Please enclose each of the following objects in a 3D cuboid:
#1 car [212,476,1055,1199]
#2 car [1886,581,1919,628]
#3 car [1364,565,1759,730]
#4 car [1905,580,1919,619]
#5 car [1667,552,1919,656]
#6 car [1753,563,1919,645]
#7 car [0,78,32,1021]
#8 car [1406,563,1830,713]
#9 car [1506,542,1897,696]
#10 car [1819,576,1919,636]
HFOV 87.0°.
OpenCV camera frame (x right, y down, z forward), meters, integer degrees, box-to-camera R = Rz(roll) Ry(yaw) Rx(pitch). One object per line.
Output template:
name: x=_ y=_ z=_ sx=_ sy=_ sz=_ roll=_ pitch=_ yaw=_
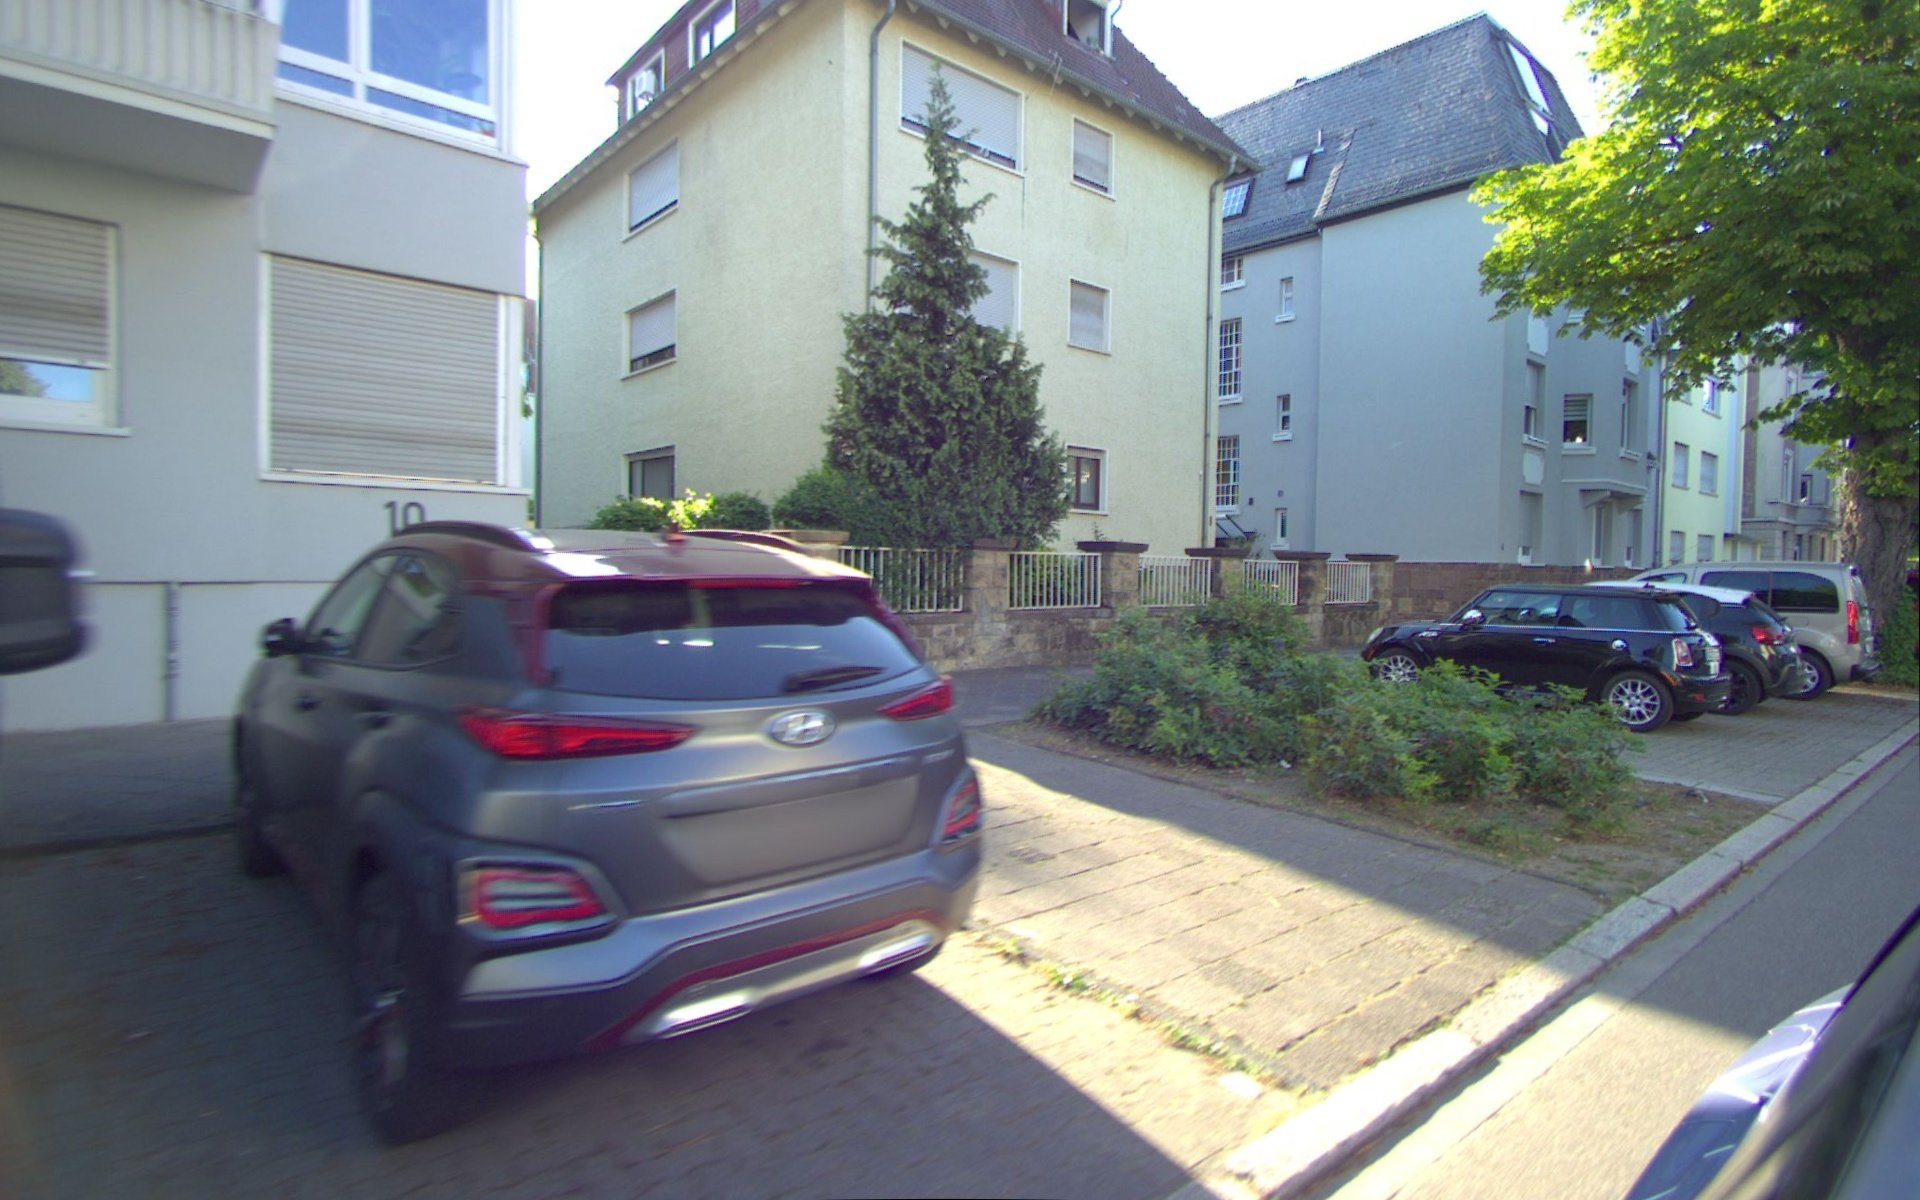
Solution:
car: x=-1.755 y=0.406 z=4.118 sx=1.728 sy=1.587 sz=4.198 roll=-1 pitch=4 yaw=-41
car: x=31.572 y=0.208 z=31.647 sx=1.573 sy=1.460 sz=3.680 roll=-1 pitch=3 yaw=-40
car: x=6.618 y=0.393 z=11.381 sx=1.728 sy=1.444 sz=3.411 roll=-1 pitch=4 yaw=-40
car: x=39.032 y=0.057 z=38.864 sx=1.573 sy=1.504 sz=3.825 roll=-1 pitch=3 yaw=-40
car: x=18.072 y=0.013 z=21.351 sx=1.915 sy=1.960 sz=4.819 roll=0 pitch=3 yaw=-39
car: x=20.854 y=0.069 z=22.920 sx=1.758 sy=1.725 sz=4.212 roll=0 pitch=3 yaw=-36
car: x=-3.830 y=-0.209 z=2.562 sx=2.040 sy=2.937 sz=5.105 roll=-1 pitch=3 yaw=-41
car: x=8.346 y=0.342 z=13.160 sx=1.729 sy=1.559 sz=4.307 roll=-1 pitch=3 yaw=-43
car: x=10.586 y=0.121 z=14.720 sx=1.729 sy=1.907 sz=4.307 roll=-2 pitch=4 yaw=-43
car: x=25.717 y=0.159 z=27.269 sx=1.646 sy=1.515 sz=3.680 roll=-1 pitch=3 yaw=-40
